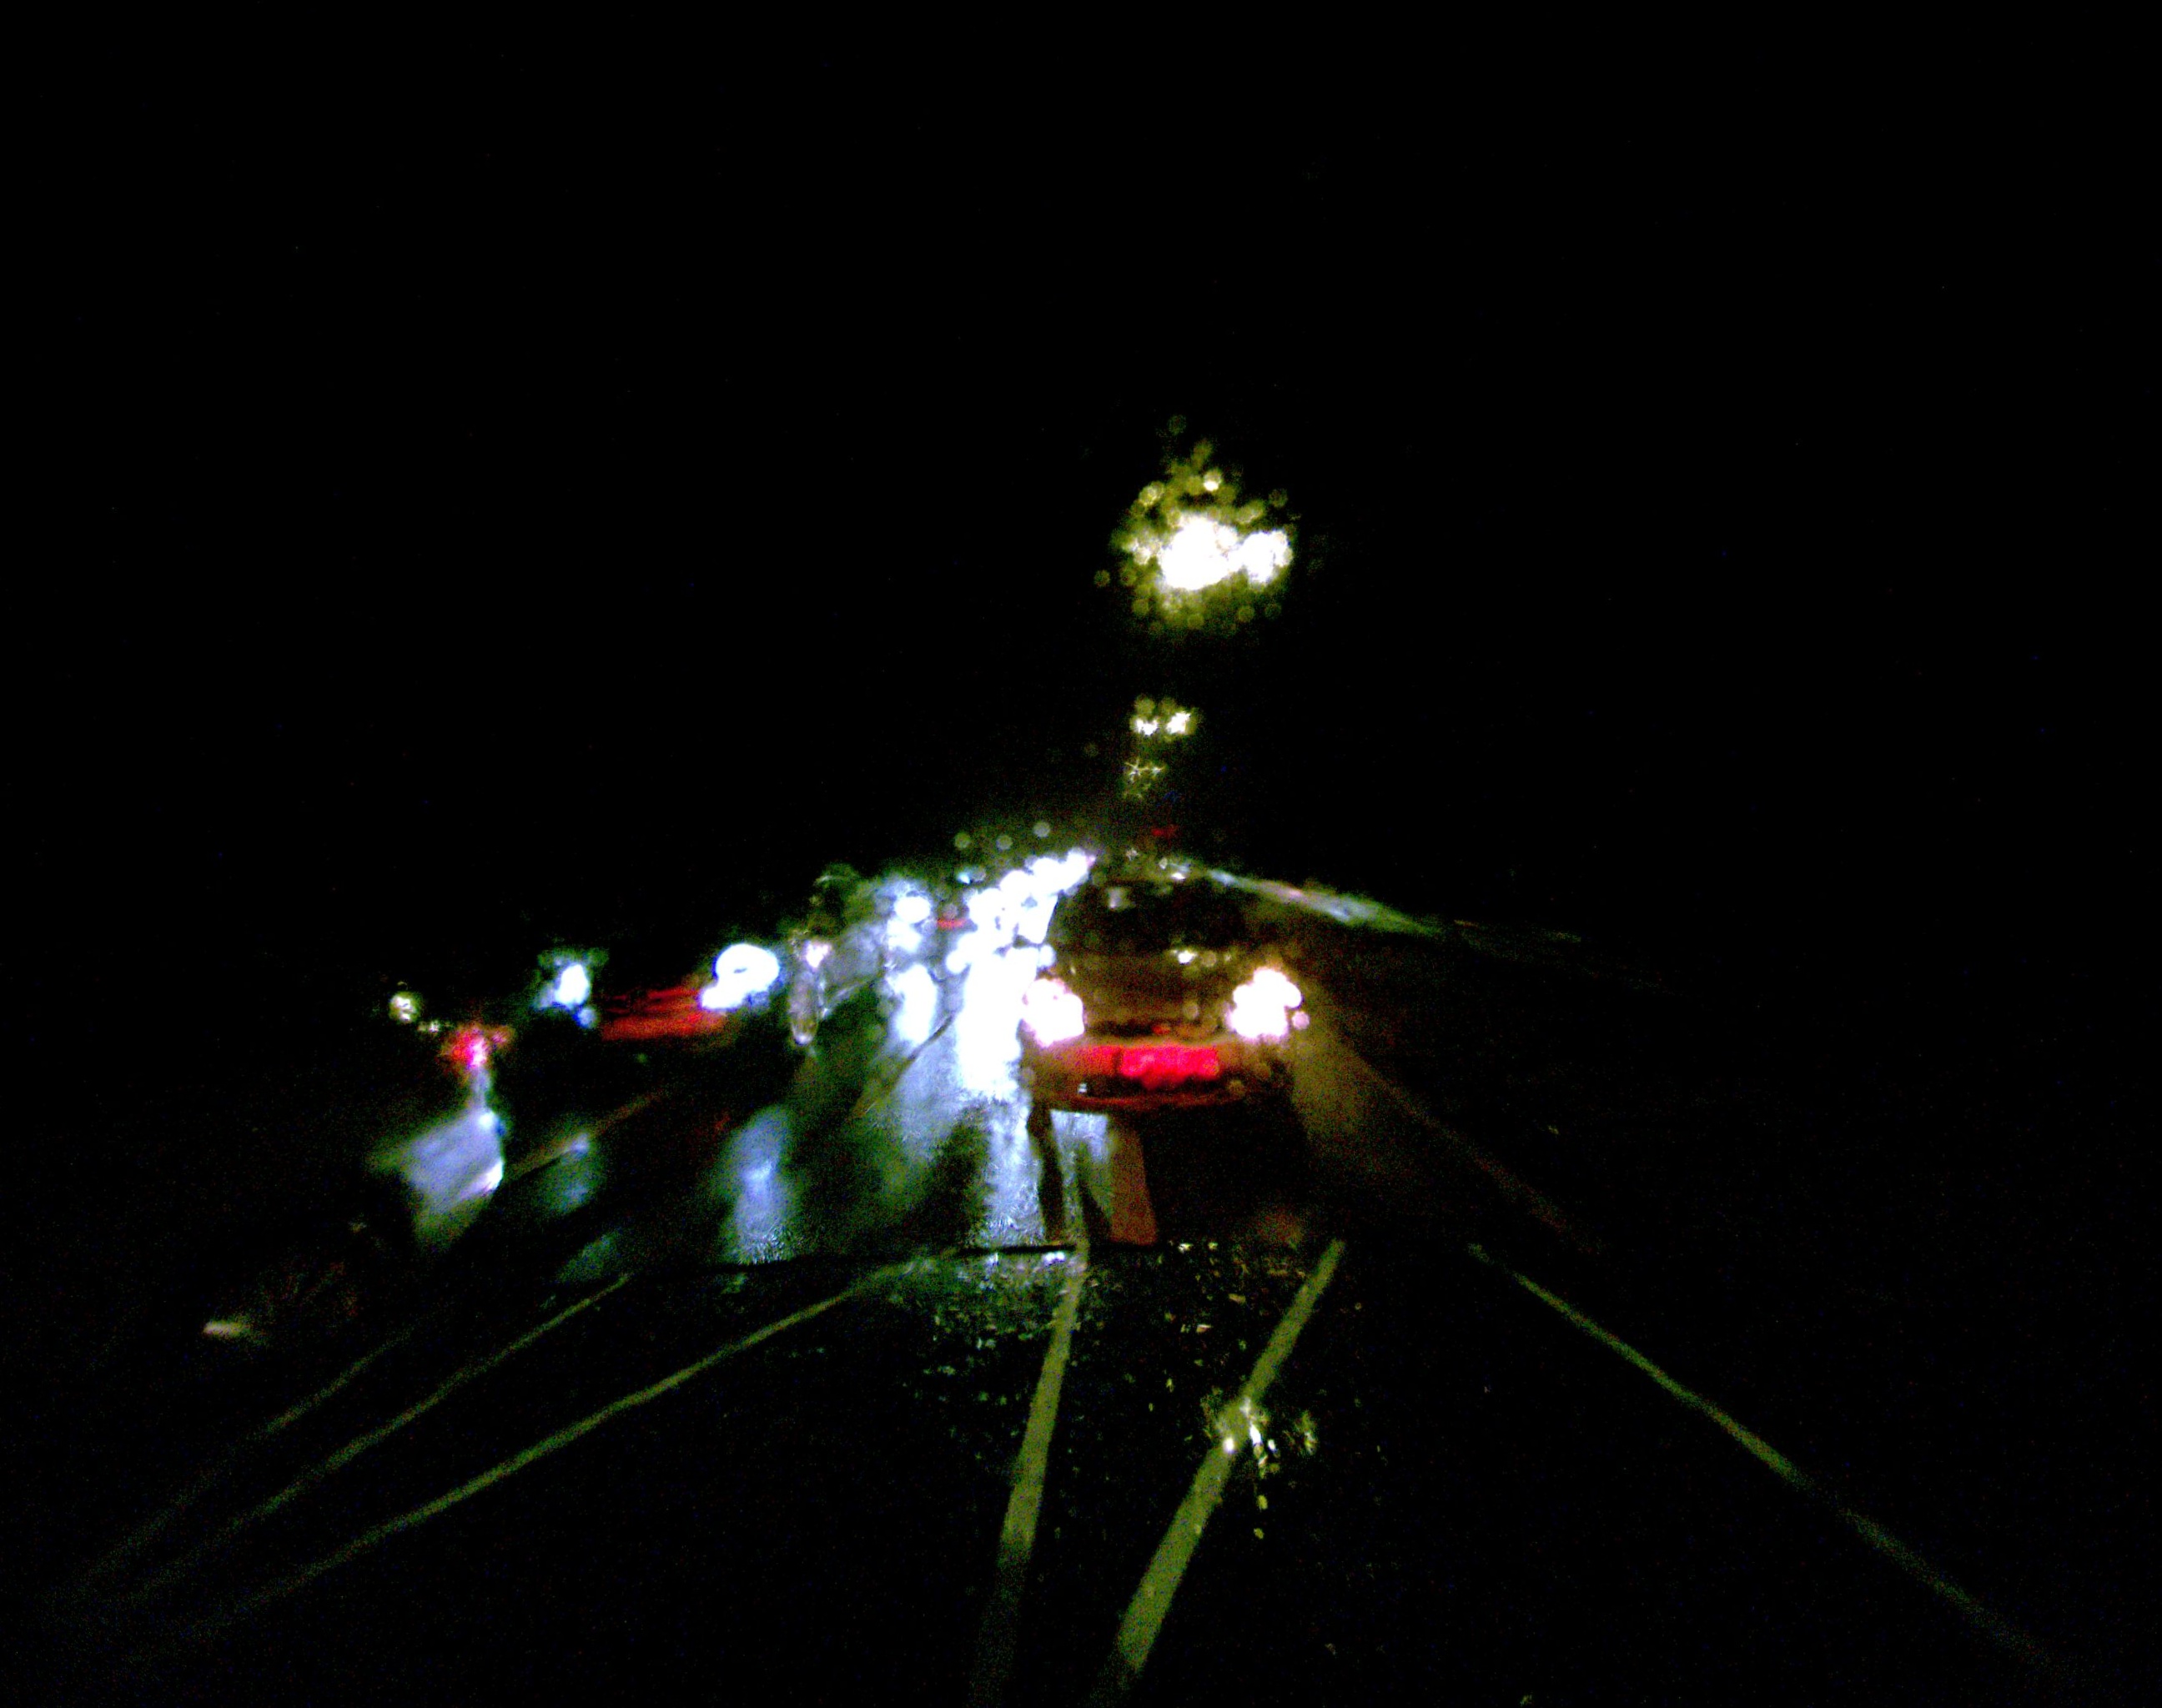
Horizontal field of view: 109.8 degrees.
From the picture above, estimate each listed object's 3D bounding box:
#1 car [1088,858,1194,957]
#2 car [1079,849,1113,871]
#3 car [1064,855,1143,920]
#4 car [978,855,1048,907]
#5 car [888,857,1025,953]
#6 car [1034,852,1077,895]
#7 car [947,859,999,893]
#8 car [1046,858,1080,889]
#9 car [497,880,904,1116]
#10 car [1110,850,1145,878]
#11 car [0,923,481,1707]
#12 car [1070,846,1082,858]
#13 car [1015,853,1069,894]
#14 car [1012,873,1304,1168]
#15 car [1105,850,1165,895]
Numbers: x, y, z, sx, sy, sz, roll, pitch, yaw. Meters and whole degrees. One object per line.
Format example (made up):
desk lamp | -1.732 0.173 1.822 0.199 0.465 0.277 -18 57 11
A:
car | 0.981 0.868 13.828 1.606 1.417 3.389 -4 1 1
car | 1.101 0.415 57.782 1.999 1.589 4.389 -1 1 -6
car | 0.581 0.836 20.629 1.838 1.417 3.698 -4 1 1
car | -2.301 0.876 26.867 1.998 1.589 4.391 -1 1 1
car | -2.336 0.904 15.500 1.998 1.589 4.391 -1 1 1
car | -1.286 0.973 39.629 1.998 2.002 3.999 -2 1 1
car | -5.493 1.079 39.202 1.998 1.472 4.337 -4 1 0
car | -1.090 1.158 47.792 1.998 1.789 4.000 -1 0 1
car | -3.155 1.091 7.404 1.743 1.409 4.139 -2 1 1
car | 2.941 0.594 47.503 1.998 1.574 4.001 -2 1 5
car | -3.079 1.058 0.506 1.711 1.513 4.414 -2 1 1
car | -0.848 -0.414 129.410 1.998 2.002 3.999 -1 1 0
car | -1.618 0.795 32.962 1.998 1.589 4.391 -1 1 1
car | 0.428 0.918 5.681 1.497 1.416 3.389 -1 0 1
car | 1.982 0.639 28.964 1.998 1.497 3.999 -2 1 1
